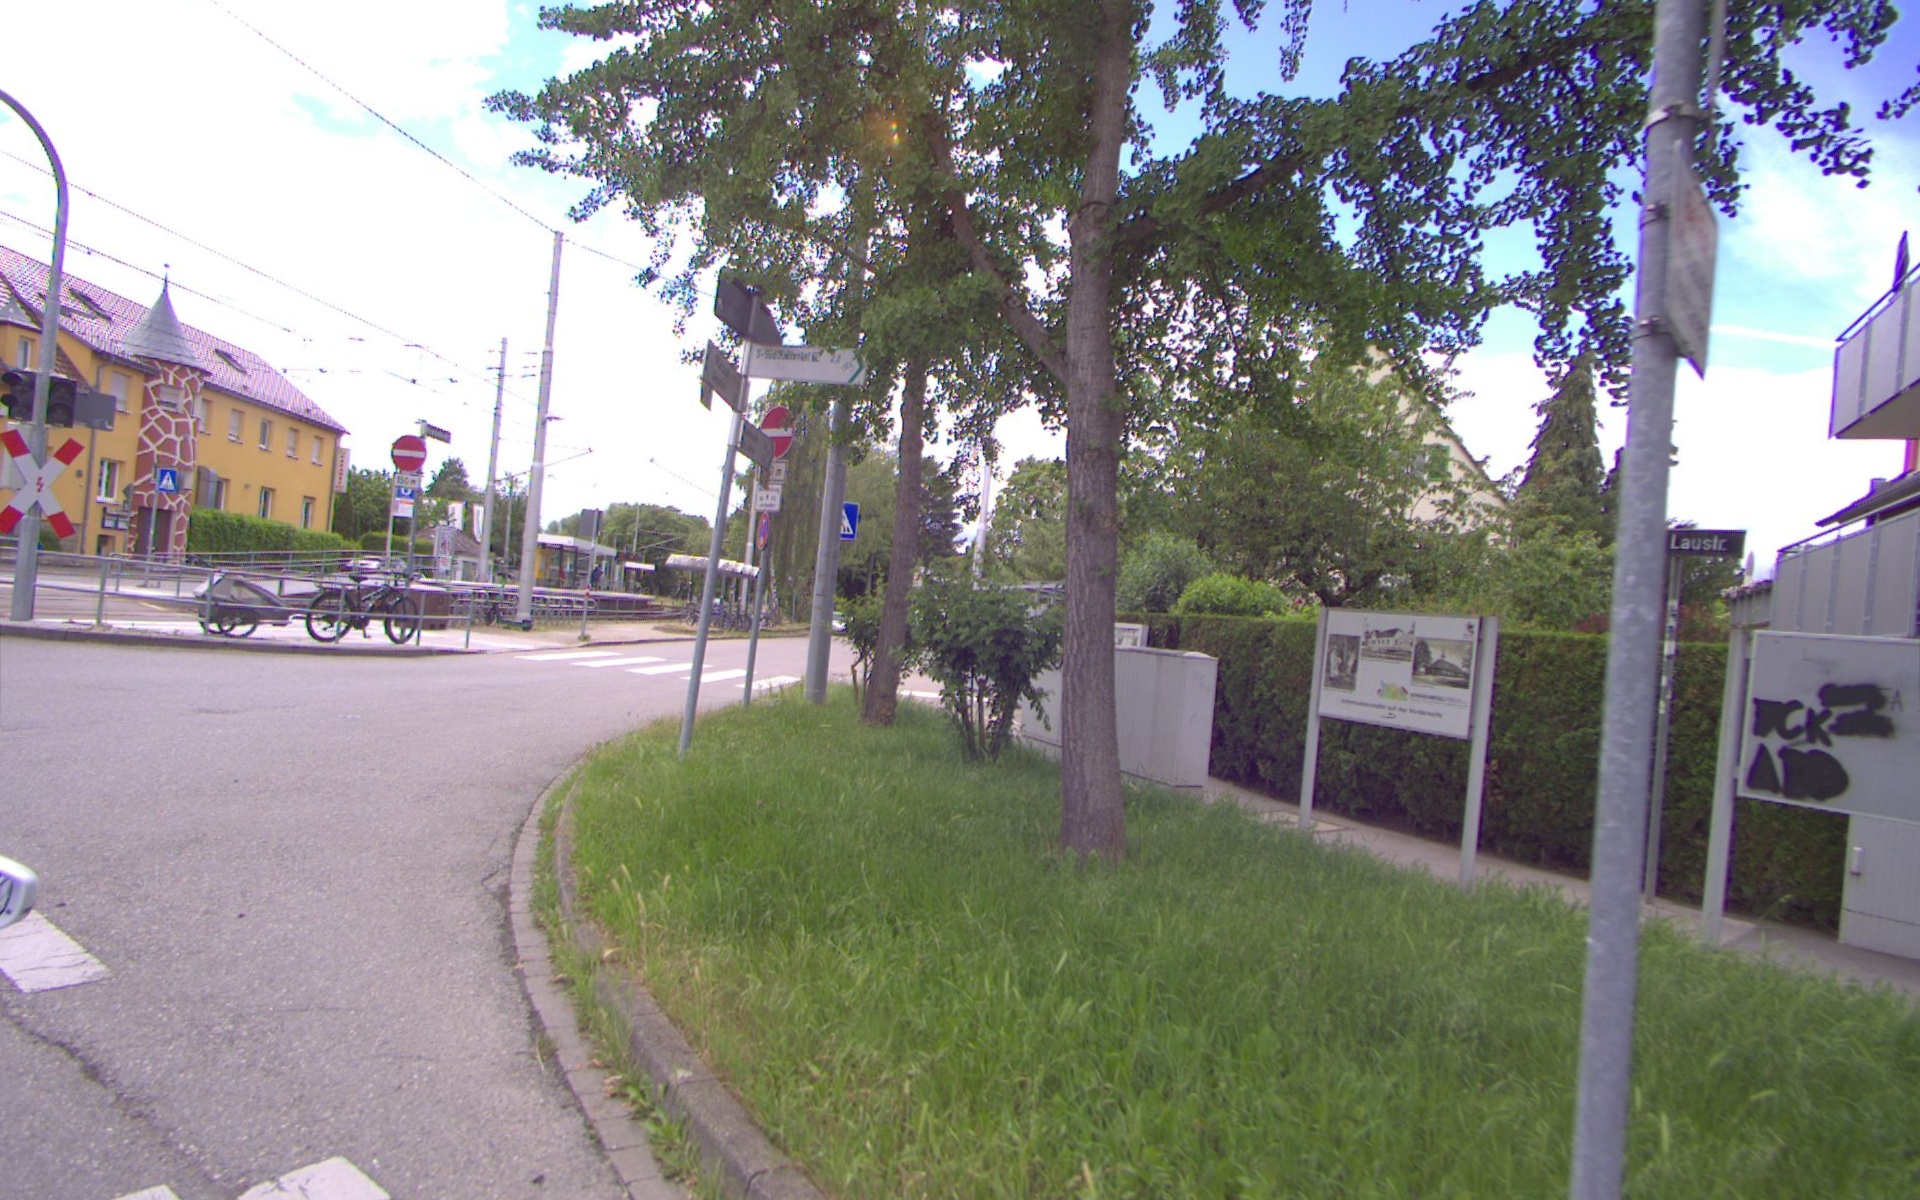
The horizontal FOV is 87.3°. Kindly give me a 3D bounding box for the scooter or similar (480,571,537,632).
[{"bbox_3d":[-10.666,0.040,23.779,1.031,1.333,0.489,5,1,2],"label":"scooter or similar"}]

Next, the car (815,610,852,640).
[{"bbox_3d":[-7.824,1.522,62.545,2.033,1.593,4.258,6,-1,-5],"label":"car"}]

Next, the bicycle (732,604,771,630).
[{"bbox_3d":[-10.011,0.828,48.363,1.740,1.054,0.556,6,-1,-10],"label":"bicycle"}]

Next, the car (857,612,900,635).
[{"bbox_3d":[-6.891,2.043,85.317,1.890,1.593,4.261,6,-1,21],"label":"car"}]

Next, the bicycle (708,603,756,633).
[{"bbox_3d":[-9.299,0.745,40.991,1.737,1.054,0.557,6,0,1],"label":"bicycle"}]

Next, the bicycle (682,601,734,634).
[{"bbox_3d":[-9.459,0.670,37.803,1.737,1.054,0.557,6,0,1],"label":"bicycle"}]

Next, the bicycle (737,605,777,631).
[{"bbox_3d":[-9.587,0.860,47.643,1.740,1.054,0.556,6,-1,-9],"label":"bicycle"}]

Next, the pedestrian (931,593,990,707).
[{"bbox_3d":[0.005,0.885,17.996,0.617,1.939,0.826,5,1,-23],"label":"pedestrian"}]

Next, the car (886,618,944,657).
[{"bbox_3d":[-1.967,1.680,45.180,1.786,1.504,4.426,6,-1,7],"label":"car"}]

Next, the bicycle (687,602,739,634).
[{"bbox_3d":[-9.447,0.688,38.523,1.737,1.054,0.557,6,0,1],"label":"bicycle"}]

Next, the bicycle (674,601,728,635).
[{"bbox_3d":[-9.476,0.667,36.900,1.737,1.054,0.557,6,0,1],"label":"bicycle"}]

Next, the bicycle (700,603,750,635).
[{"bbox_3d":[-9.354,0.761,40.091,1.737,1.054,0.557,6,0,1],"label":"bicycle"}]

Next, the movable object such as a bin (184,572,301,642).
[{"bbox_3d":[-9.718,0.105,13.648,0.569,0.834,1.094,6,-1,26],"label":"movable object such as a bin"}]

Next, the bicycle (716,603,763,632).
[{"bbox_3d":[-9.331,0.741,42.576,1.737,1.054,0.557,6,0,1],"label":"bicycle"}]

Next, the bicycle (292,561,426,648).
[{"bbox_3d":[-8.932,0.092,15.030,0.458,1.170,1.692,6,-1,23],"label":"bicycle"}]

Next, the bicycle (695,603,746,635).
[{"bbox_3d":[-9.365,0.750,39.378,1.737,1.054,0.557,6,0,1],"label":"bicycle"}]

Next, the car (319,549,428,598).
[{"bbox_3d":[-25.094,-1.093,43.246,2.322,1.582,4.371,7,-2,-6],"label":"car"}]
